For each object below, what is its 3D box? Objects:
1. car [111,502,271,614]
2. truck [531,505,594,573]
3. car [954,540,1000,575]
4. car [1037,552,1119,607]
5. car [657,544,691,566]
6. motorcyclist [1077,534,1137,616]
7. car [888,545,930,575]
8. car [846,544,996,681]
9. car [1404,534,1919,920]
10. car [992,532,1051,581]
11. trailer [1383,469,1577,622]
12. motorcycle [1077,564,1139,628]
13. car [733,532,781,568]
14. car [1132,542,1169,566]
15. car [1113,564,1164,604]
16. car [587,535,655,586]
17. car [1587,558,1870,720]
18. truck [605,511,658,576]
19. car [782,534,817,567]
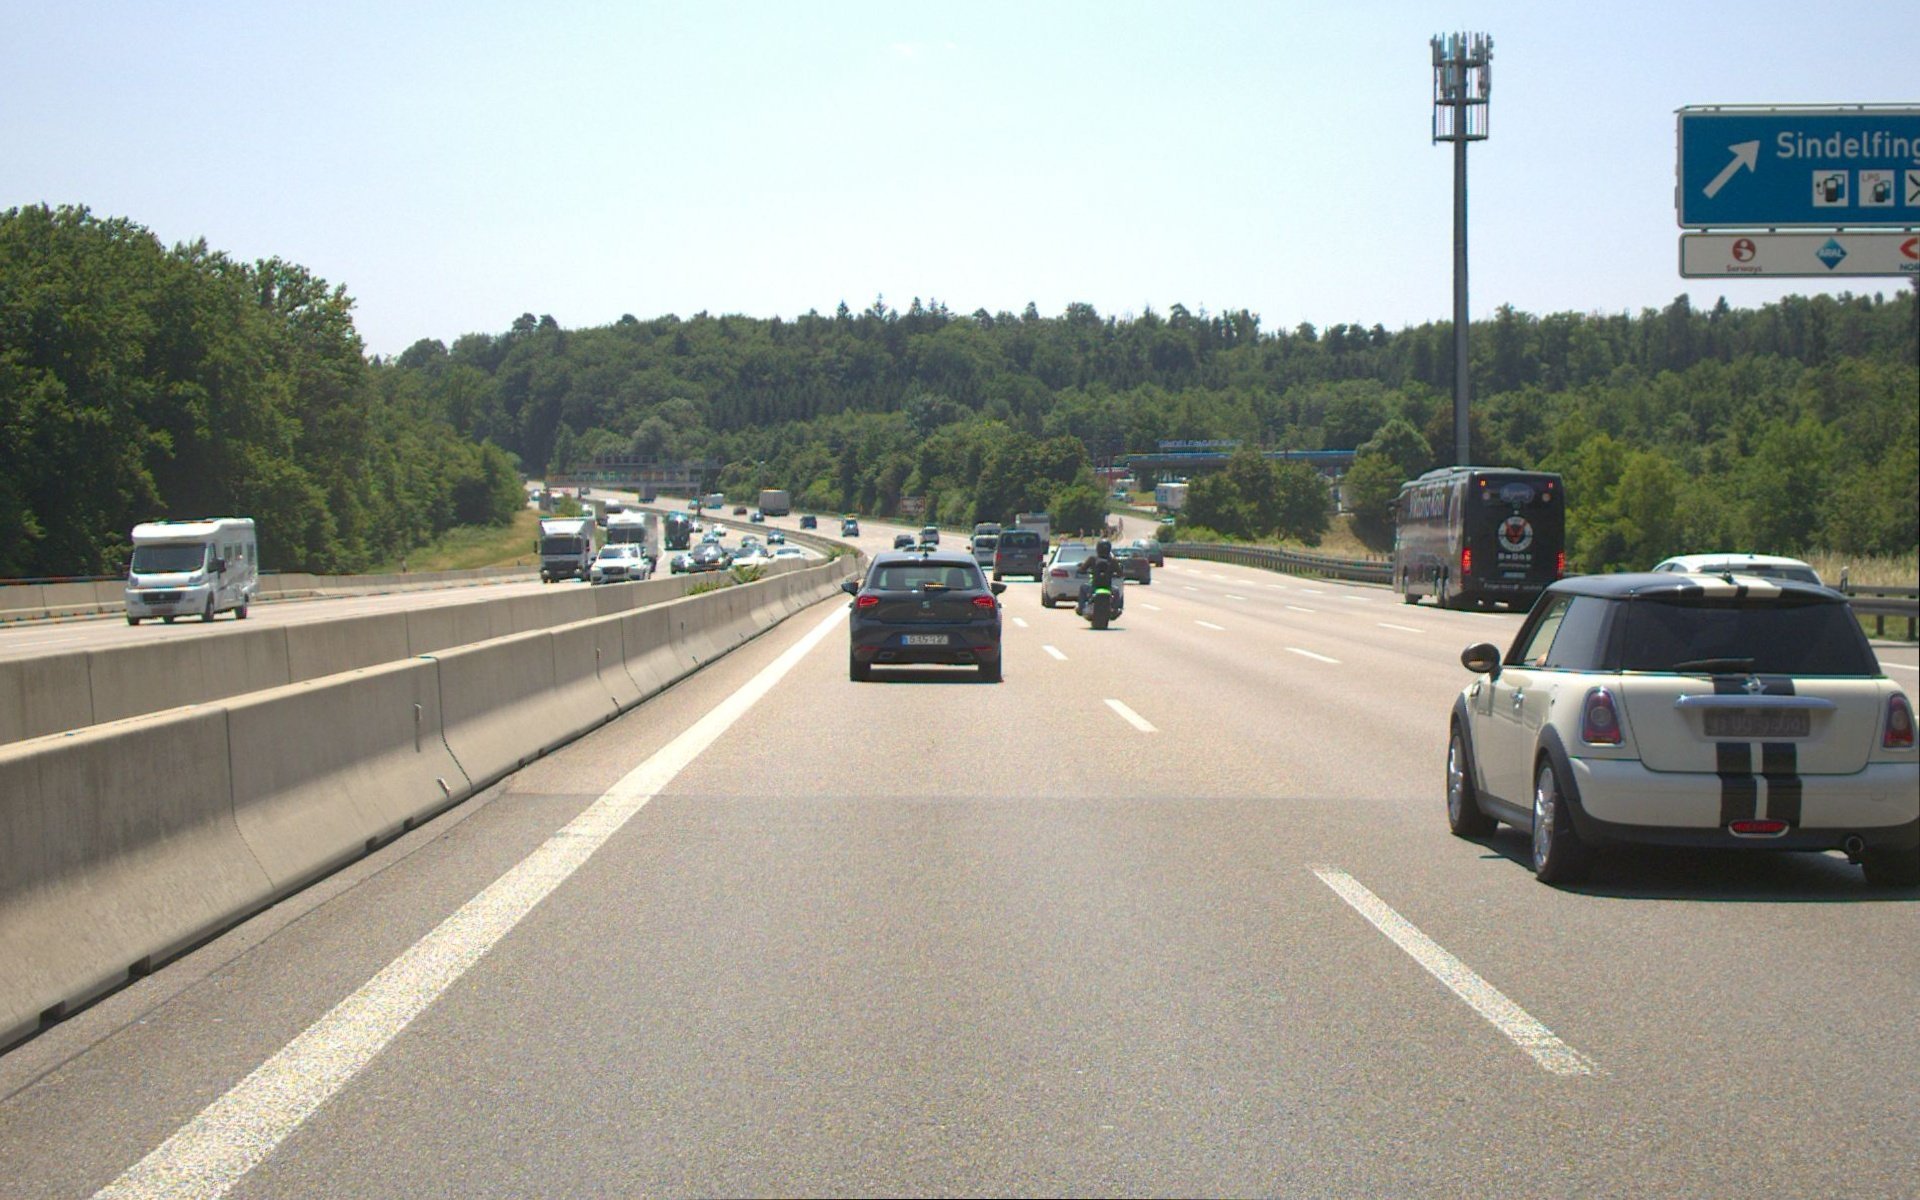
[{"bbox_3d":[-19.489,-1.083,87.597,2.221,2.650,8.176,-2,1,0],"label":"car"},{"bbox_3d":[-21.420,-3.287,185.562,2.539,3.559,8.578,-1,1,-1],"label":"truck"},{"bbox_3d":[0.883,-2.239,180.407,1.993,1.678,4.425,1,2,-5],"label":"car"},{"bbox_3d":[2.791,-0.509,81.809,1.782,1.261,3.460,-1,1,-1],"label":"car"},{"bbox_3d":[-18.312,-2.872,220.078,1.798,1.371,4.532,-2,1,-1],"label":"car"},{"bbox_3d":[2.661,-0.469,62.292,0.962,1.432,1.235,-2,2,-2],"label":"motorcyclist"},{"bbox_3d":[-2.146,-1.690,144.347,1.536,1.208,3.460,-1,1,-4],"label":"car"},{"bbox_3d":[-0.436,0.127,39.378,1.624,1.482,3.685,1,0,0],"label":"car"},{"bbox_3d":[3.337,0.503,16.582,1.841,1.546,4.000,1,2,0],"label":"car"},{"bbox_3d":[2.393,-1.719,134.538,2.097,1.845,4.081,-1,1,-1],"label":"car"},{"bbox_3d":[13.465,-1.401,90.312,2.857,3.675,13.543,-1,1,-1],"label":"trailer"},{"bbox_3d":[2.673,-0.080,62.447,0.977,1.125,2.271,-1,1,-1],"label":"motorcycle"},{"bbox_3d":[-8.935,-2.209,151.800,1.848,1.518,5.319,-2,1,-1],"label":"car"},{"bbox_3d":[9.813,-2.390,177.339,1.608,1.208,3.460,-1,1,-2],"label":"car"},{"bbox_3d":[6.698,-0.616,129.183,1.675,1.427,3.685,0,1,-1],"label":"car"},{"bbox_3d":[-12.474,-1.467,126.676,1.993,1.781,5.319,-2,1,-1],"label":"car"},{"bbox_3d":[7.347,0.324,33.267,1.666,1.428,4.376,-1,1,-1],"label":"car"},{"bbox_3d":[-21.565,-3.708,226.021,2.715,4.085,7.877,-2,1,-1],"label":"truck"},{"bbox_3d":[-9.860,-3.063,211.657,1.774,1.873,5.210,1,2,1],"label":"car"}]
